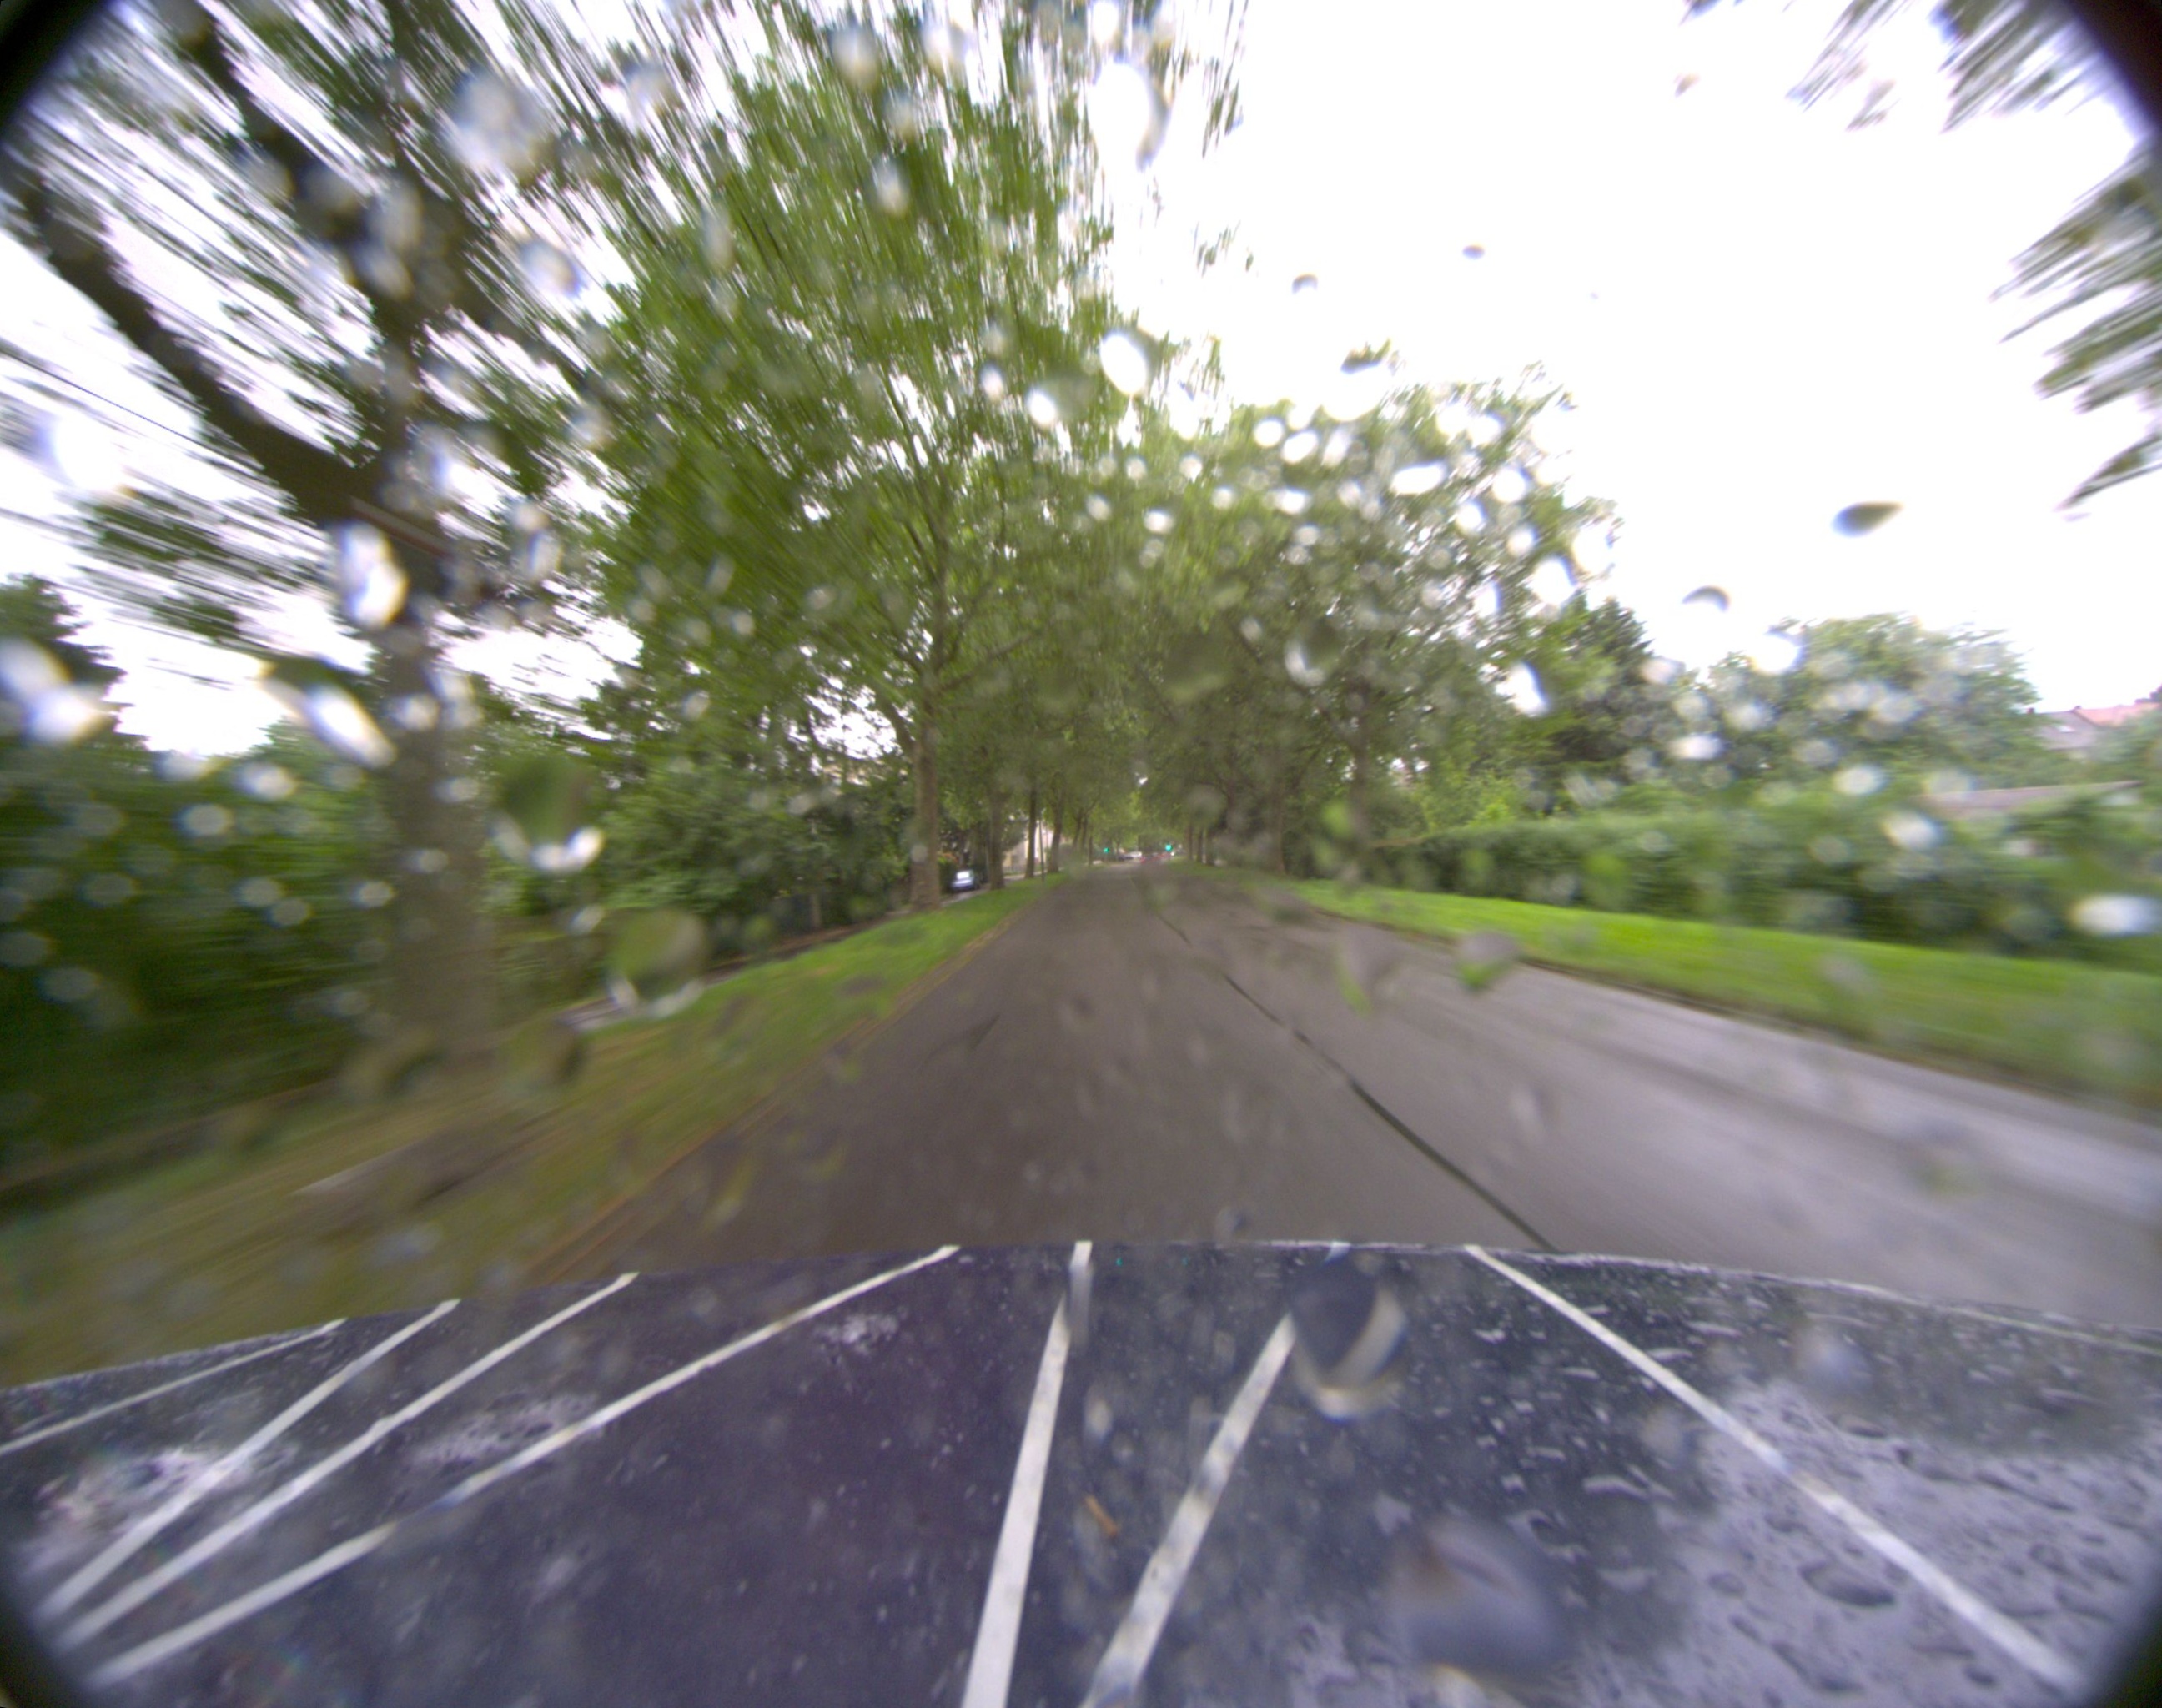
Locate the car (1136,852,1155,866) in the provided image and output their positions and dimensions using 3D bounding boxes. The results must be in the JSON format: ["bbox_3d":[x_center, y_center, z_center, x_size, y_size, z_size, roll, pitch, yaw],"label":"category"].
[{"bbox_3d":[7.435,0.514,87.384,1.850,1.493,4.000,-3,0,1],"label":"car"}]

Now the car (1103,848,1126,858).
[{"bbox_3d":[6.466,-0.204,148.288,4.263,1.845,1.891,-3,1,-3],"label":"car"}]

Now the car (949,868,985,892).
[{"bbox_3d":[-7.973,1.790,53.370,1.800,1.317,3.999,-7,0,0],"label":"car"}]

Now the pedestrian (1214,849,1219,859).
[{"bbox_3d":[17.891,-0.023,100.628,0.517,1.254,0.849,-3,1,6],"label":"pedestrian"}]

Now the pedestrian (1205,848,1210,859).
[{"bbox_3d":[16.809,-0.042,100.760,0.599,1.445,0.857,-3,1,6],"label":"pedestrian"}]
